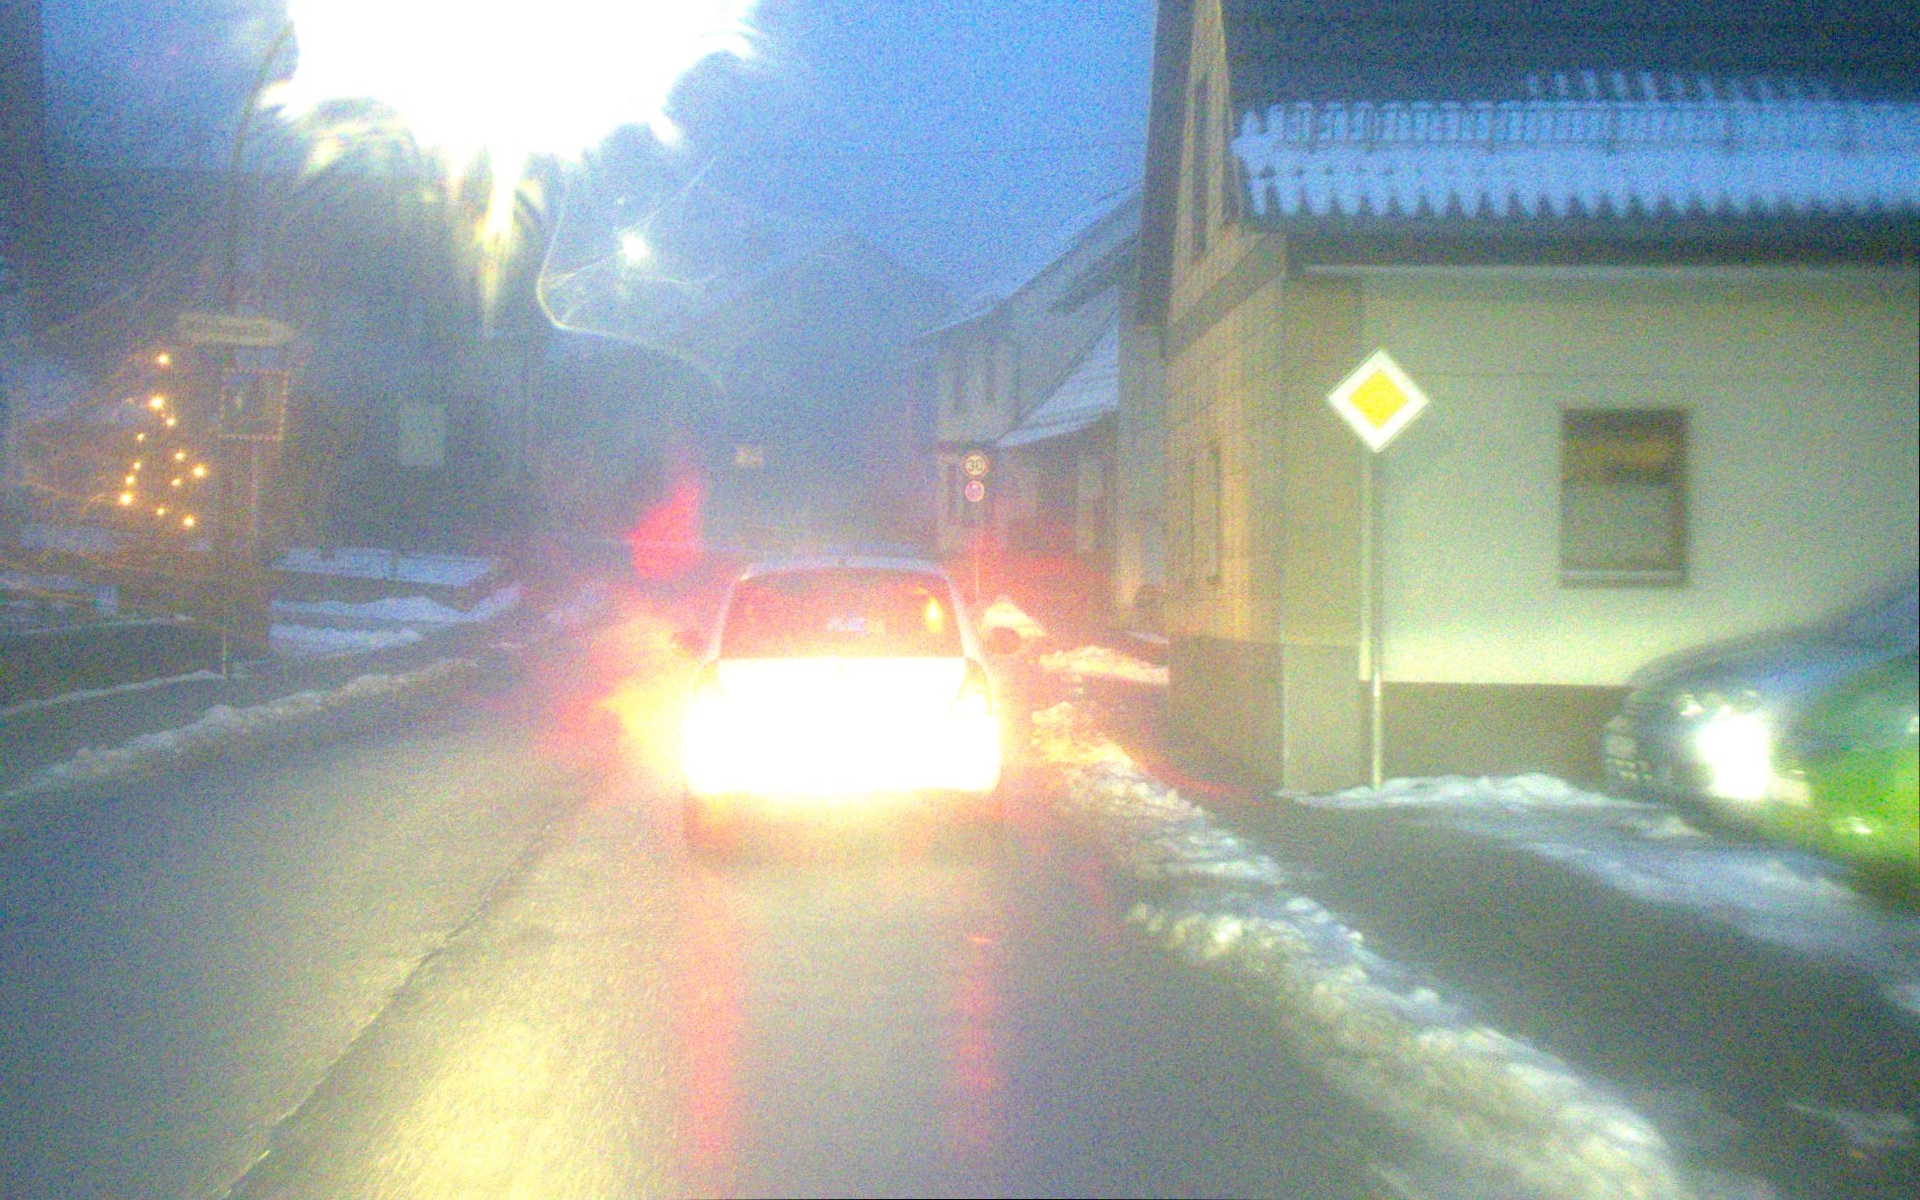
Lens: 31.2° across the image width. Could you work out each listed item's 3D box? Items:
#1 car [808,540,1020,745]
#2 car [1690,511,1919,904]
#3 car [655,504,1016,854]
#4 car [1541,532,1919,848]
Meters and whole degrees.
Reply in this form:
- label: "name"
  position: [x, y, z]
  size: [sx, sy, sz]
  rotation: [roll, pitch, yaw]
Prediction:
- label: "car"
  position: [-0.452, 0.335, 29.386]
  size: [1.645, 1.590, 3.700]
  rotation: [2, 0, -3]
- label: "car"
  position: [5.125, 0.390, 14.176]
  size: [3.740, 1.491, 1.822]
  rotation: [0, 1, -6]
- label: "car"
  position: [-0.642, 0.367, 18.053]
  size: [1.645, 1.590, 3.700]
  rotation: [2, 0, -2]
- label: "car"
  position: [5.215, 0.444, 17.151]
  size: [4.169, 1.428, 1.902]
  rotation: [2, 2, -5]
